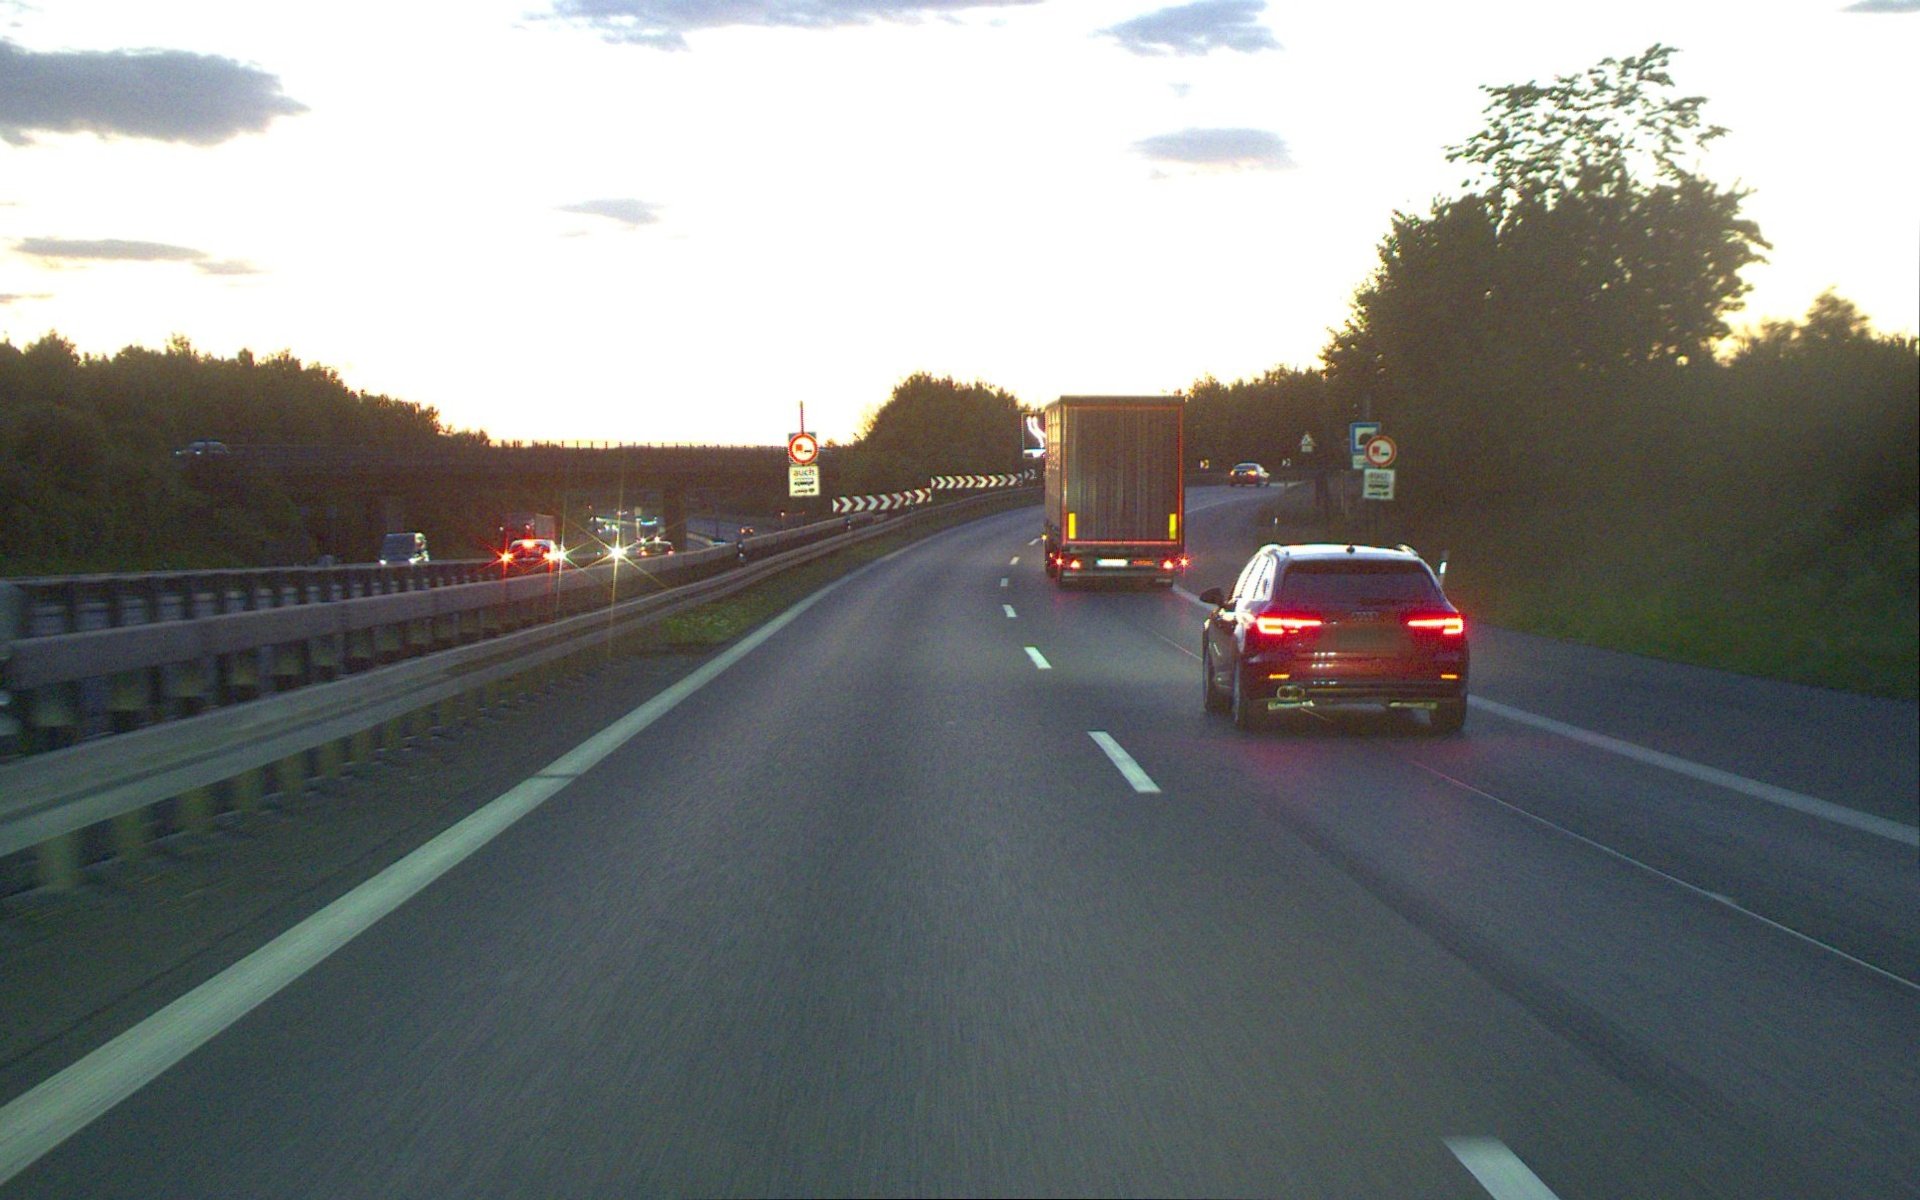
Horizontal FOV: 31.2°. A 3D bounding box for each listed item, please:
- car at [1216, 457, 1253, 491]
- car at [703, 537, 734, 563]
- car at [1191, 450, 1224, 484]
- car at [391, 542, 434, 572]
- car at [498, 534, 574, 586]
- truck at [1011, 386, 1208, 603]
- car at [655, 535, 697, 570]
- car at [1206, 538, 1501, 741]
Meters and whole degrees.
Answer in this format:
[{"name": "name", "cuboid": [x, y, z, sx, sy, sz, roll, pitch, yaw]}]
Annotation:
[{"name": "car", "cuboid": [16.815, -7.724, 210.872, 1.900, 2.007, 3.860, 0, 1, -1]}, {"name": "car", "cuboid": [-15.102, -3.149, 214.899, 1.638, 1.541, 3.395, -2, 1, 0]}, {"name": "car", "cuboid": [15.588, -8.356, 216.603, 1.761, 2.007, 3.518, -2, 1, -1]}, {"name": "car", "cuboid": [-30.272, -2.388, 190.266, 1.696, 1.553, 3.832, -2, 1, 1]}, {"name": "car", "cuboid": [-13.423, -1.280, 109.092, 1.872, 1.556, 4.520, -2, 1, -1]}, {"name": "truck", "cuboid": [3.106, -2.208, 74.586, 3.509, 4.286, 9.892, -2, 1, -1]}, {"name": "car", "cuboid": [-13.867, -2.318, 167.964, 1.713, 1.600, 3.722, -2, 1, -1]}, {"name": "car", "cuboid": [3.073, 0.265, 27.616, 1.915, 1.437, 4.000, -2, 1, 1]}]
